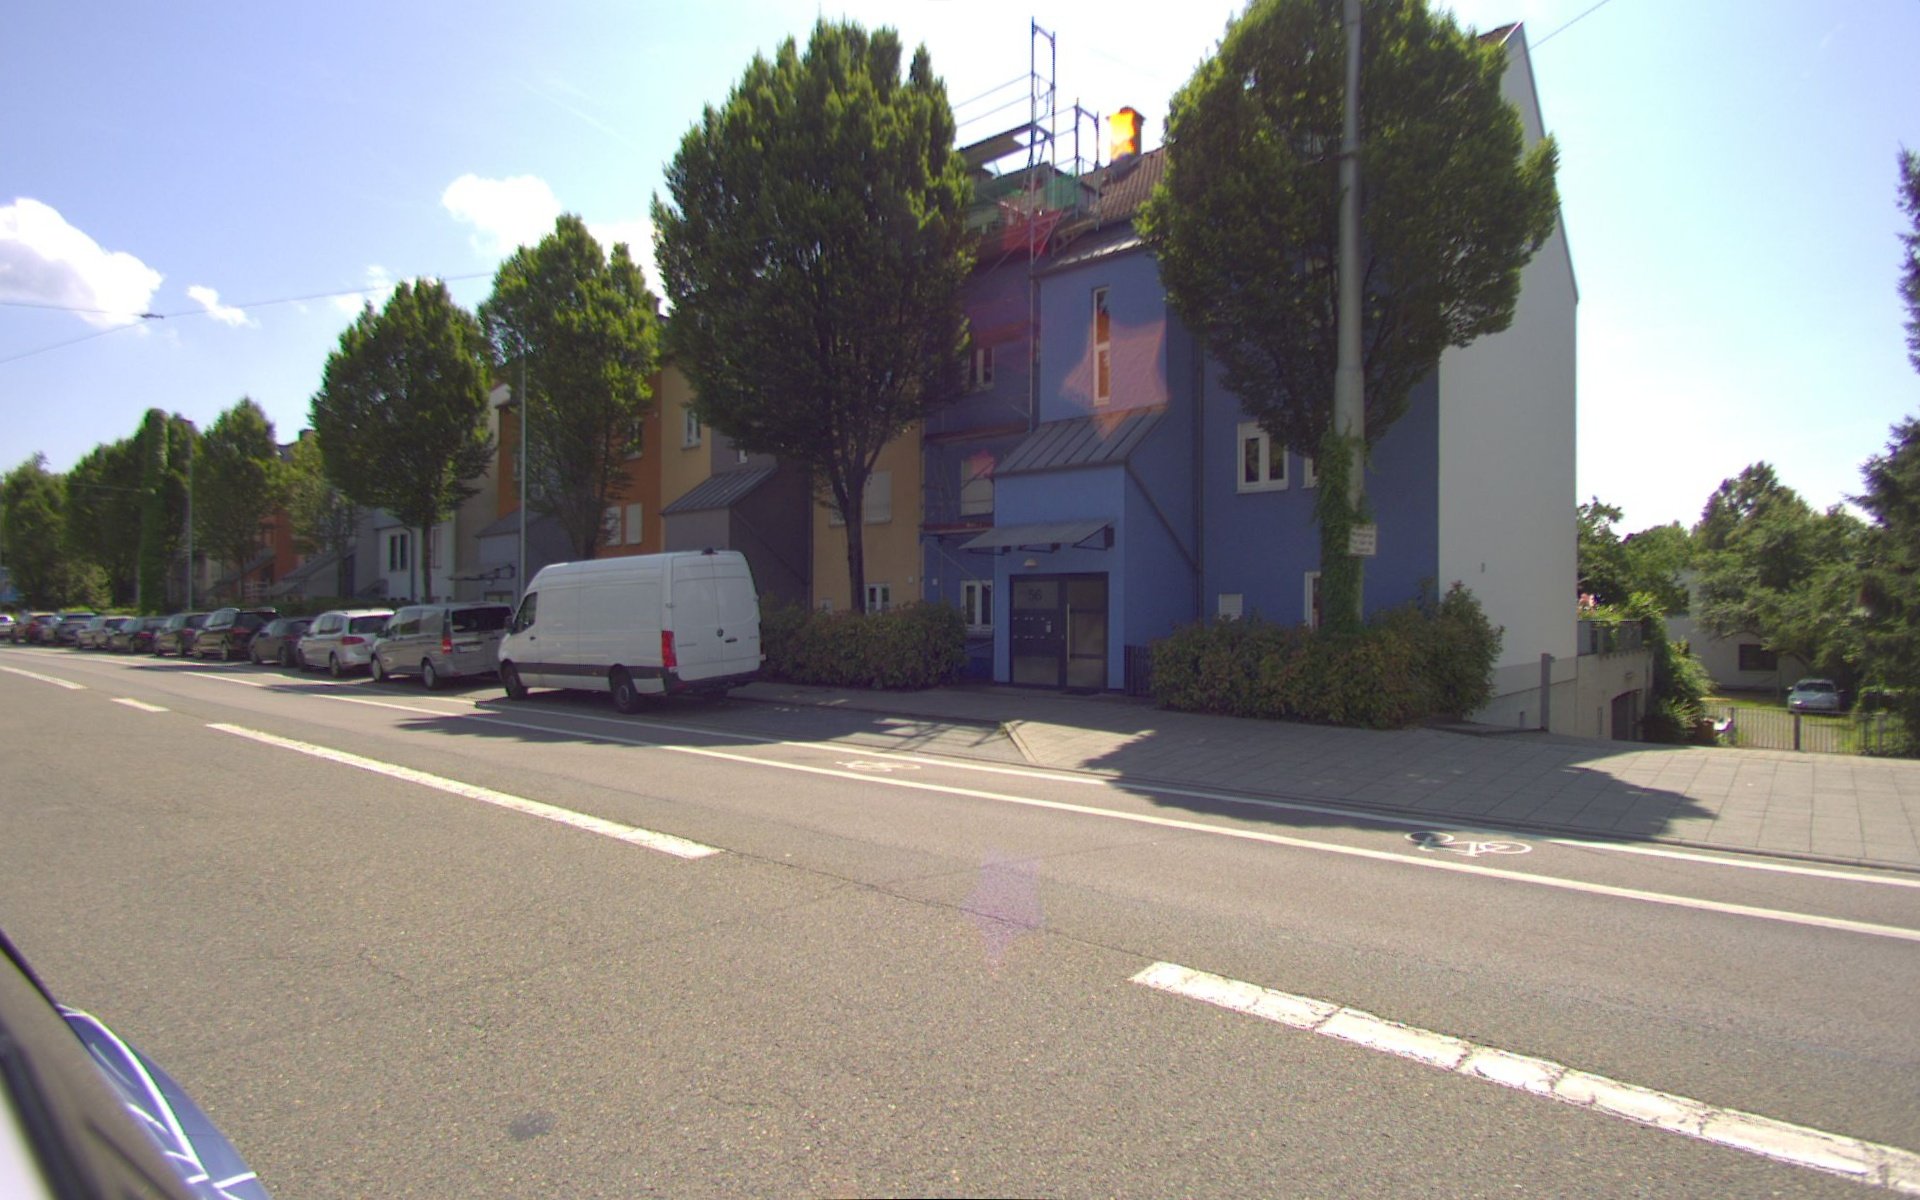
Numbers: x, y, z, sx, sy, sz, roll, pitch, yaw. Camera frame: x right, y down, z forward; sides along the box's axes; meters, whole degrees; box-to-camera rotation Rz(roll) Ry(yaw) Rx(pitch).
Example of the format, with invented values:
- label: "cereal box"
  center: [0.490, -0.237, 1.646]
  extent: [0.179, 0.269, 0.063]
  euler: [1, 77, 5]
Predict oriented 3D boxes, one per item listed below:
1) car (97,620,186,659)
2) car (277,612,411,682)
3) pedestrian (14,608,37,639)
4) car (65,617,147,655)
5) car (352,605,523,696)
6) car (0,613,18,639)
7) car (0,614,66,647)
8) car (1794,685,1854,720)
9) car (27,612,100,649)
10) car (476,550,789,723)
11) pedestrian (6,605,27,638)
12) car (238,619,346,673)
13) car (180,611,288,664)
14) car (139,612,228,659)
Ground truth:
- label: "car"
  center: [-33.885, 1.603, 41.840]
  extent: [4.955, 1.457, 1.725]
  euler: [-1, 0, 37]
- label: "car"
  center: [-17.041, 1.228, 27.902]
  extent: [4.900, 1.765, 1.699]
  euler: [-1, -1, 40]
- label: "pedestrian"
  center: [-55.248, 1.409, 59.848]
  extent: [0.695, 1.808, 0.683]
  euler: [0, -2, 6]
- label: "car"
  center: [-38.655, 1.607, 45.762]
  extent: [4.885, 1.519, 1.641]
  euler: [0, 2, 35]
- label: "car"
  center: [-12.629, 1.118, 24.286]
  extent: [5.359, 1.909, 1.788]
  euler: [-1, 1, 41]
- label: "car"
  center: [-54.721, 1.467, 56.813]
  extent: [4.383, 1.421, 1.642]
  euler: [-1, -2, 33]
- label: "car"
  center: [-47.794, 1.525, 52.032]
  extent: [4.161, 1.621, 1.642]
  euler: [-1, -1, 33]
- label: "car"
  center: [38.345, 4.505, 44.988]
  extent: [1.843, 1.364, 3.948]
  euler: [-1, -4, 39]
- label: "car"
  center: [-43.073, 1.455, 48.604]
  extent: [4.678, 1.621, 1.641]
  euler: [-1, 1, 36]
- label: "car"
  center: [-6.383, 0.583, 19.020]
  extent: [7.033, 2.670, 2.299]
  euler: [-1, 2, 42]
- label: "pedestrian"
  center: [-56.130, 1.294, 60.203]
  extent: [0.633, 1.937, 0.710]
  euler: [0, -2, -14]
- label: "car"
  center: [-20.728, 1.365, 31.343]
  extent: [4.082, 1.482, 1.583]
  euler: [1, -1, 38]
- label: "car"
  center: [-24.983, 1.263, 34.750]
  extent: [4.881, 1.729, 1.734]
  euler: [-1, -2, 38]
- label: "car"
  center: [-29.212, 1.306, 38.022]
  extent: [4.280, 1.629, 1.639]
  euler: [0, -2, 38]
